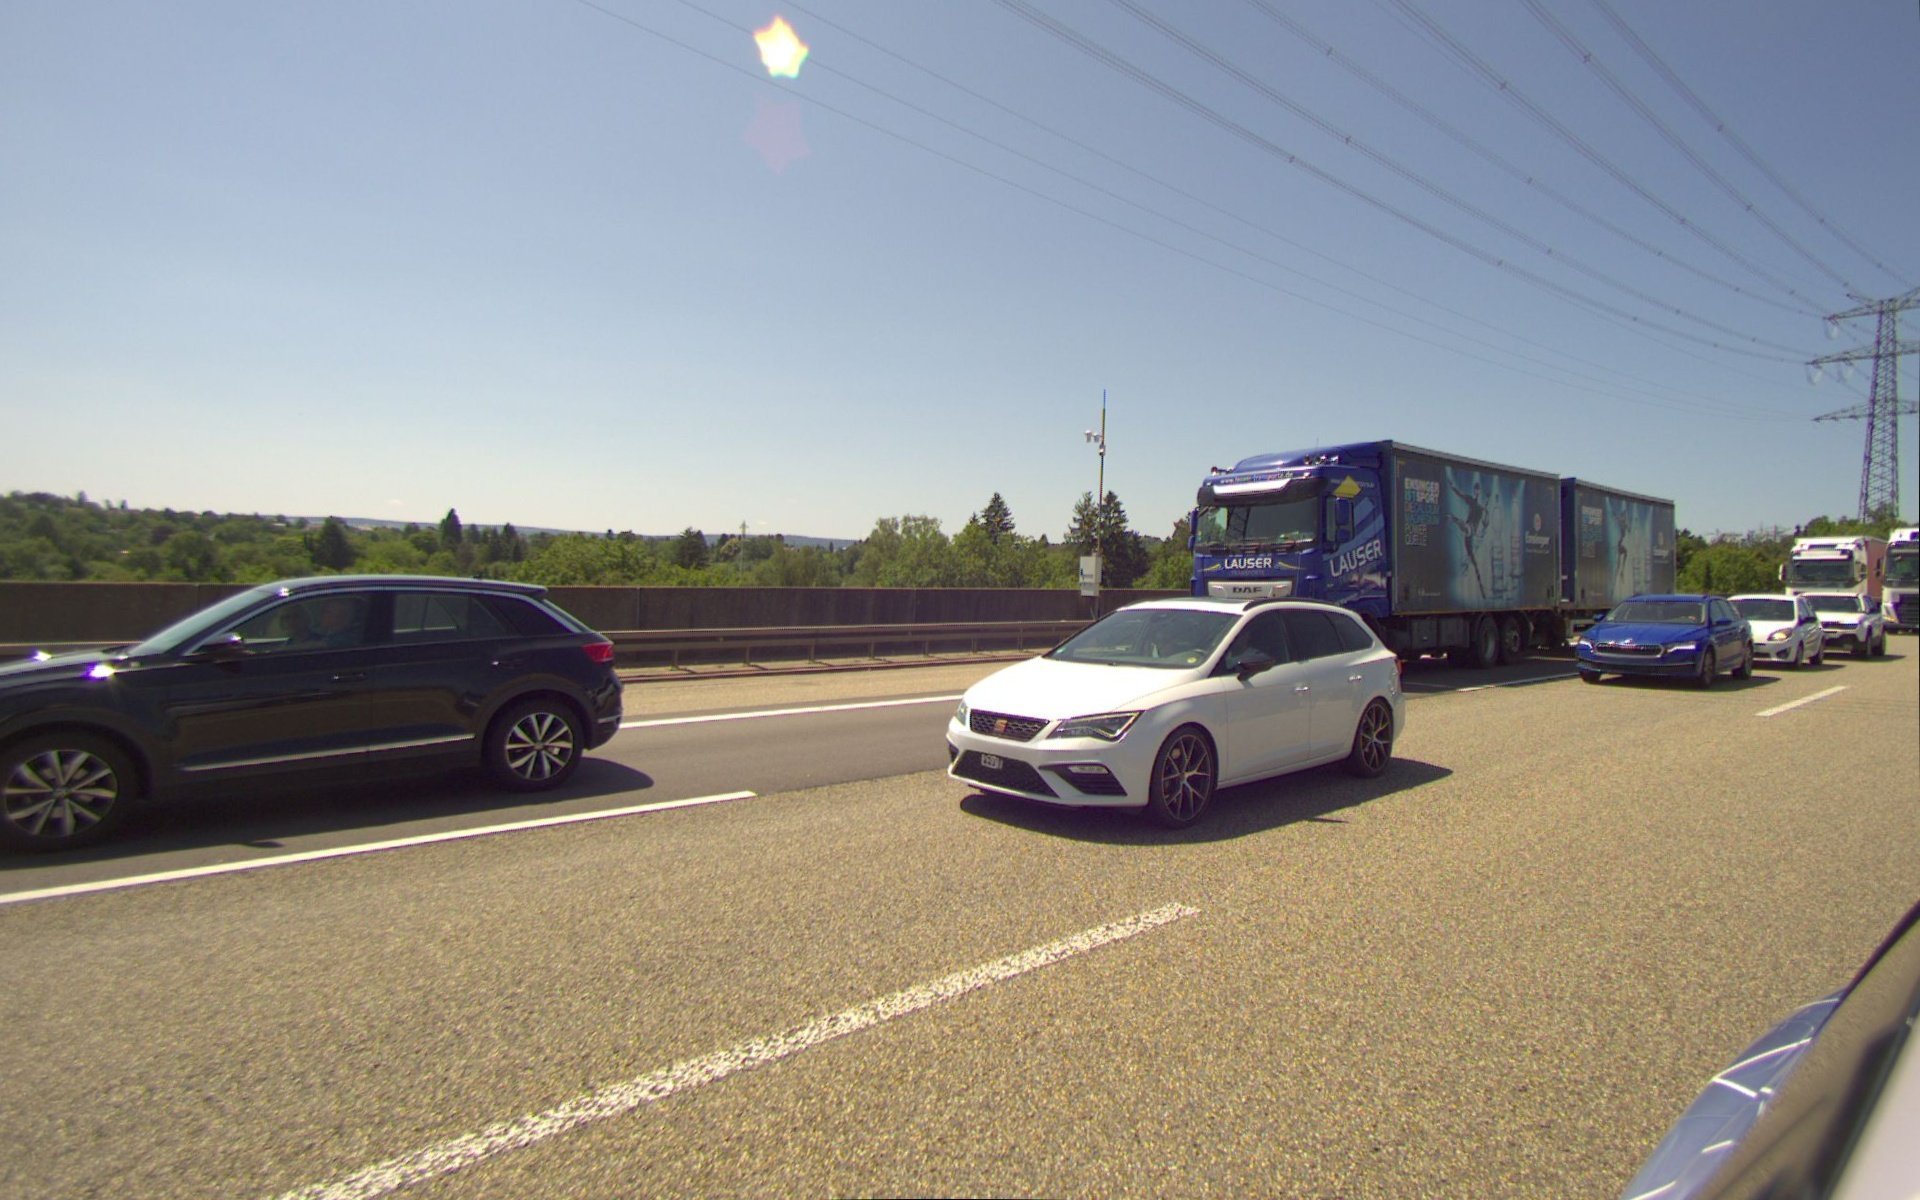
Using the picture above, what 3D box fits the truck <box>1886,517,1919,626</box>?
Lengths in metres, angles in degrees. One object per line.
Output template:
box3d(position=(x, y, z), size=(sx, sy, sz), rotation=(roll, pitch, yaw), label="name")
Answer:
box3d(position=(37.723, -1.082, 38.470), size=(8.121, 3.874, 2.847), rotation=(-1, 0, -41), label="truck")

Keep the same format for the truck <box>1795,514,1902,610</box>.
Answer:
box3d(position=(40.448, -1.651, 45.960), size=(8.121, 4.037, 2.606), rotation=(-1, 0, -41), label="truck")

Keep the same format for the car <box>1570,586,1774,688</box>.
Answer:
box3d(position=(12.016, 0.516, 16.966), size=(4.482, 1.470, 1.712), rotation=(-1, 1, -40), label="car")

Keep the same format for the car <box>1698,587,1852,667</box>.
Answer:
box3d(position=(16.798, 0.487, 20.788), size=(4.071, 1.470, 1.712), rotation=(-1, 1, -40), label="car")

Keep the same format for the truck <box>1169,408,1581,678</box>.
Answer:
box3d(position=(8.372, -0.922, 19.345), size=(10.210, 3.999, 2.857), rotation=(-1, 0, -40), label="truck")

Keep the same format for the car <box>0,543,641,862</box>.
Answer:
box3d(position=(-4.480, 0.515, 6.939), size=(4.046, 1.675, 1.711), rotation=(-1, 1, -41), label="car")

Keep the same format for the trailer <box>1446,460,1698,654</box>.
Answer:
box3d(position=(15.545, -0.977, 25.385), size=(8.485, 4.140, 2.833), rotation=(-1, 0, -40), label="trailer")

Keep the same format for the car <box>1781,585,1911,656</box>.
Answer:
box3d(position=(21.035, 0.431, 23.987), size=(4.071, 1.528, 1.712), rotation=(-1, 1, -40), label="car")

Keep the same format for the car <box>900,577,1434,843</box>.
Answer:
box3d(position=(1.780, 0.607, 7.692), size=(4.351, 1.470, 1.711), rotation=(0, 0, -41), label="car")
